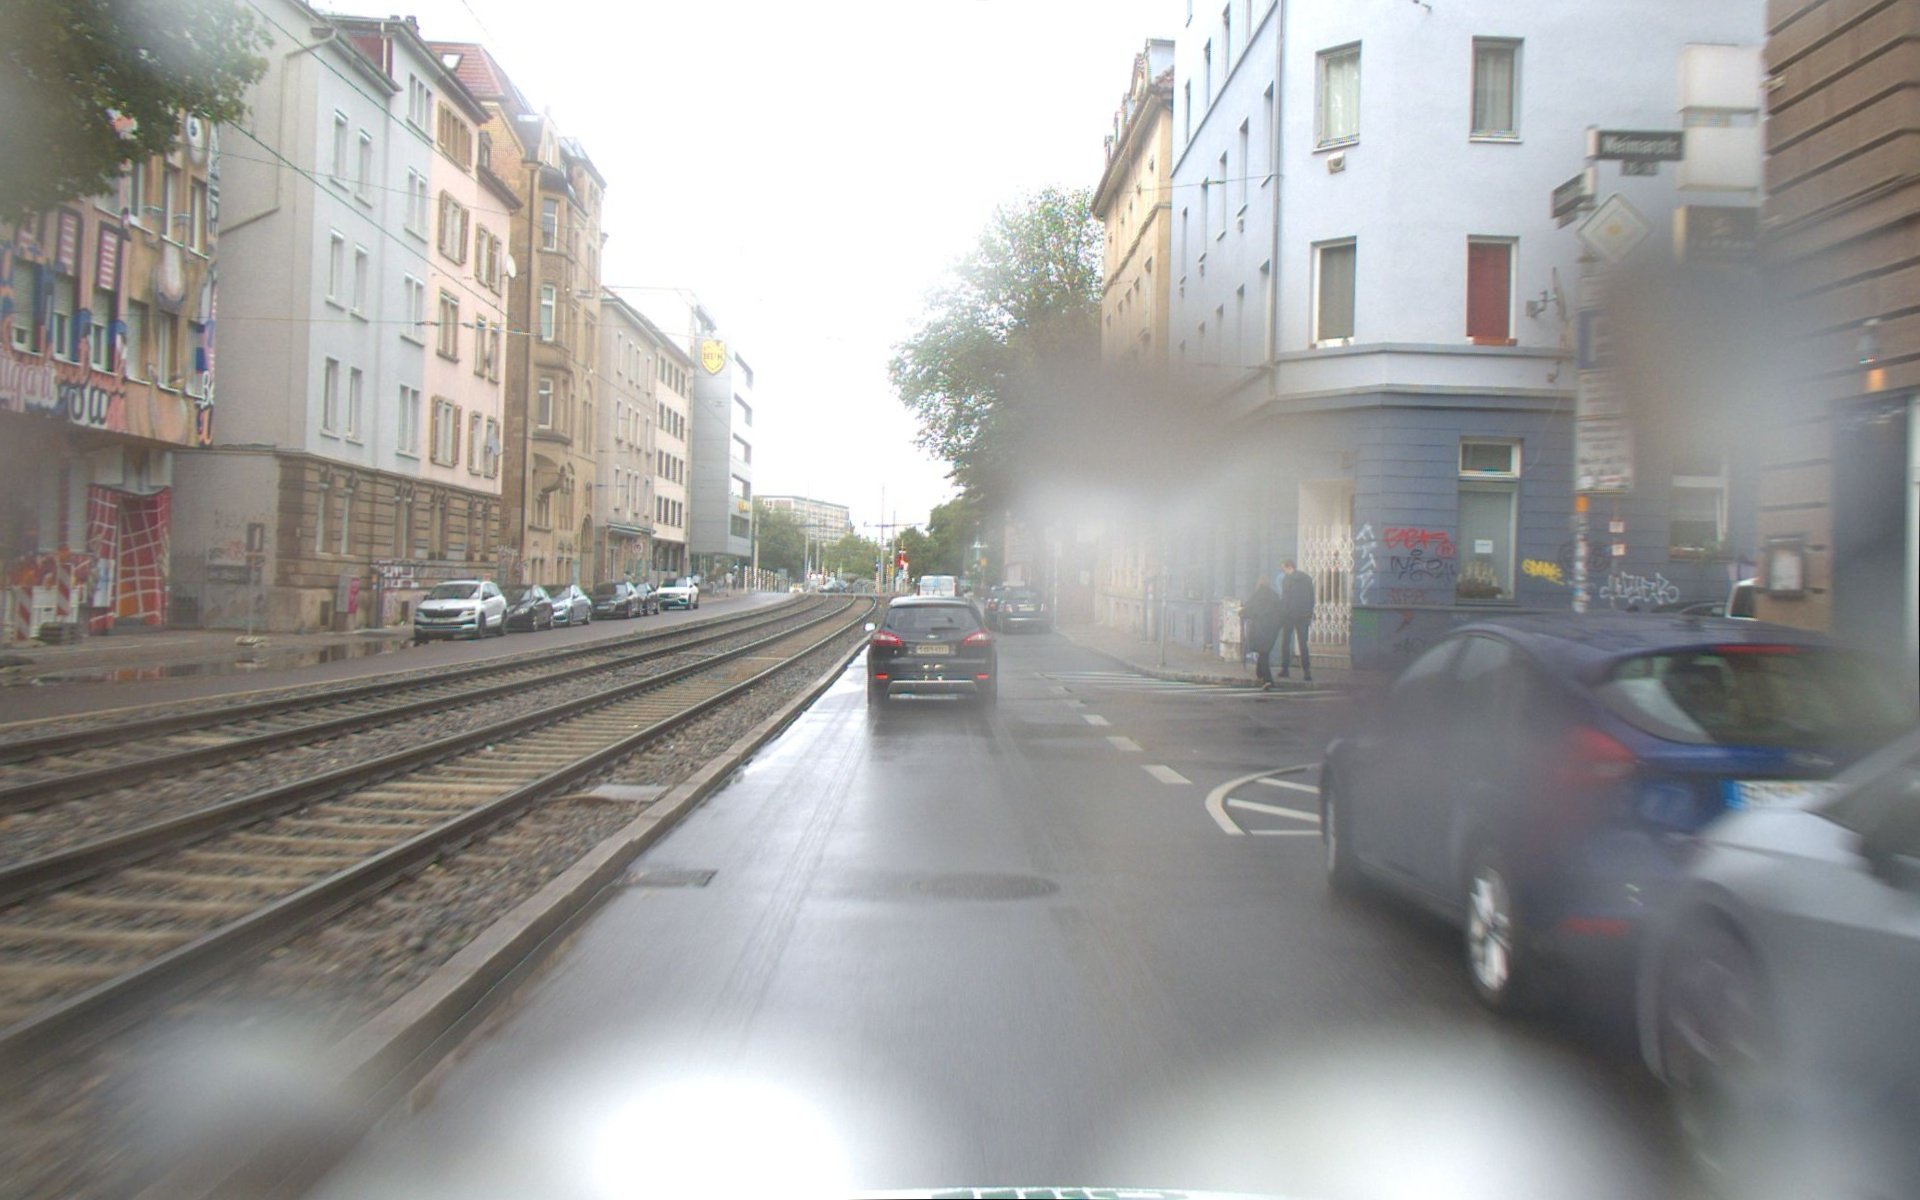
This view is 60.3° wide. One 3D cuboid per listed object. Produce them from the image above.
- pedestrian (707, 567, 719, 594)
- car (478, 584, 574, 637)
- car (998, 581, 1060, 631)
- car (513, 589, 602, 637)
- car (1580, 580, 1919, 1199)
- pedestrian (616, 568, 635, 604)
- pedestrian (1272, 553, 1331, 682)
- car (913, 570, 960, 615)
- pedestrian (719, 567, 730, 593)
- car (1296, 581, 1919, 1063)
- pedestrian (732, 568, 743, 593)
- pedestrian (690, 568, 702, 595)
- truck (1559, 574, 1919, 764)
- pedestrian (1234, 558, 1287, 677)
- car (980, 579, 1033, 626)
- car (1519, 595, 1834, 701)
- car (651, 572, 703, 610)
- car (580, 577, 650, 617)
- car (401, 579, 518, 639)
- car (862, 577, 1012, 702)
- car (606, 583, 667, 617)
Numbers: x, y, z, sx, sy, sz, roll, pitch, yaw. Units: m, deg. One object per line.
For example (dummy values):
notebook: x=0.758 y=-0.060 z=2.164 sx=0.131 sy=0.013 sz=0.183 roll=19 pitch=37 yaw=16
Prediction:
pedestrian: x=-17.458 y=-1.354 z=116.705 sx=0.729 sy=1.886 sz=0.839 roll=0 pitch=-1 yaw=-2
car: x=-13.717 y=0.303 z=52.507 sx=1.953 sy=1.545 sz=4.208 roll=2 pitch=0 yaw=-1
car: x=2.244 y=0.181 z=54.628 sx=1.703 sy=1.515 sz=3.999 roll=1 pitch=1 yaw=-2
car: x=-14.025 y=0.411 z=57.978 sx=1.953 sy=1.545 sz=4.991 roll=2 pitch=0 yaw=-1
car: x=2.826 y=0.778 z=2.924 sx=1.711 sy=1.549 sz=4.354 roll=1 pitch=1 yaw=-1
pedestrian: x=-17.129 y=-0.724 z=84.710 sx=0.785 sy=1.781 sz=0.984 roll=1 pitch=0 yaw=-2
pedestrian: x=5.527 y=0.273 z=26.832 sx=0.721 sy=2.048 sz=0.821 roll=1 pitch=1 yaw=-2
car: x=-1.012 y=-0.314 z=71.541 sx=1.953 sy=1.848 sz=4.270 roll=0 pitch=0 yaw=-1
pedestrian: x=-17.507 y=-1.460 z=123.023 sx=0.729 sy=1.886 sz=0.839 roll=0 pitch=-1 yaw=-2
car: x=2.839 y=0.721 z=7.628 sx=1.685 sy=1.542 sz=4.258 roll=1 pitch=1 yaw=0
pedestrian: x=-16.558 y=-1.448 z=122.925 sx=0.729 sy=1.886 sz=0.839 roll=0 pitch=-1 yaw=-2
pedestrian: x=-18.612 y=-1.295 z=116.555 sx=0.729 sy=1.886 sz=0.839 roll=0 pitch=-1 yaw=-2
truck: x=9.148 y=0.666 z=17.376 sx=4.959 sy=1.850 sz=2.082 roll=0 pitch=1 yaw=-4
pedestrian: x=4.843 y=0.270 z=26.702 sx=0.648 sy=1.884 sz=0.821 roll=1 pitch=1 yaw=-2
car: x=1.638 y=0.064 z=59.293 sx=1.609 sy=1.542 sz=4.038 roll=1 pitch=1 yaw=-2
car: x=10.544 y=0.683 z=24.547 sx=3.904 sy=1.455 sz=1.787 roll=0 pitch=1 yaw=1
car: x=-14.618 y=-0.476 z=85.694 sx=1.953 sy=1.871 sz=5.069 roll=1 pitch=1 yaw=-2
car: x=-14.225 y=-0.161 z=68.415 sx=1.953 sy=1.545 sz=4.675 roll=2 pitch=0 yaw=-1
car: x=-13.987 y=0.228 z=46.478 sx=1.953 sy=1.545 sz=4.434 roll=2 pitch=0 yaw=-1
car: x=-0.324 y=0.529 z=23.778 sx=1.953 sy=1.622 sz=4.270 roll=0 pitch=0 yaw=-1
car: x=-14.489 y=-0.018 z=74.348 sx=1.953 sy=1.400 sz=4.237 roll=1 pitch=1 yaw=-1
